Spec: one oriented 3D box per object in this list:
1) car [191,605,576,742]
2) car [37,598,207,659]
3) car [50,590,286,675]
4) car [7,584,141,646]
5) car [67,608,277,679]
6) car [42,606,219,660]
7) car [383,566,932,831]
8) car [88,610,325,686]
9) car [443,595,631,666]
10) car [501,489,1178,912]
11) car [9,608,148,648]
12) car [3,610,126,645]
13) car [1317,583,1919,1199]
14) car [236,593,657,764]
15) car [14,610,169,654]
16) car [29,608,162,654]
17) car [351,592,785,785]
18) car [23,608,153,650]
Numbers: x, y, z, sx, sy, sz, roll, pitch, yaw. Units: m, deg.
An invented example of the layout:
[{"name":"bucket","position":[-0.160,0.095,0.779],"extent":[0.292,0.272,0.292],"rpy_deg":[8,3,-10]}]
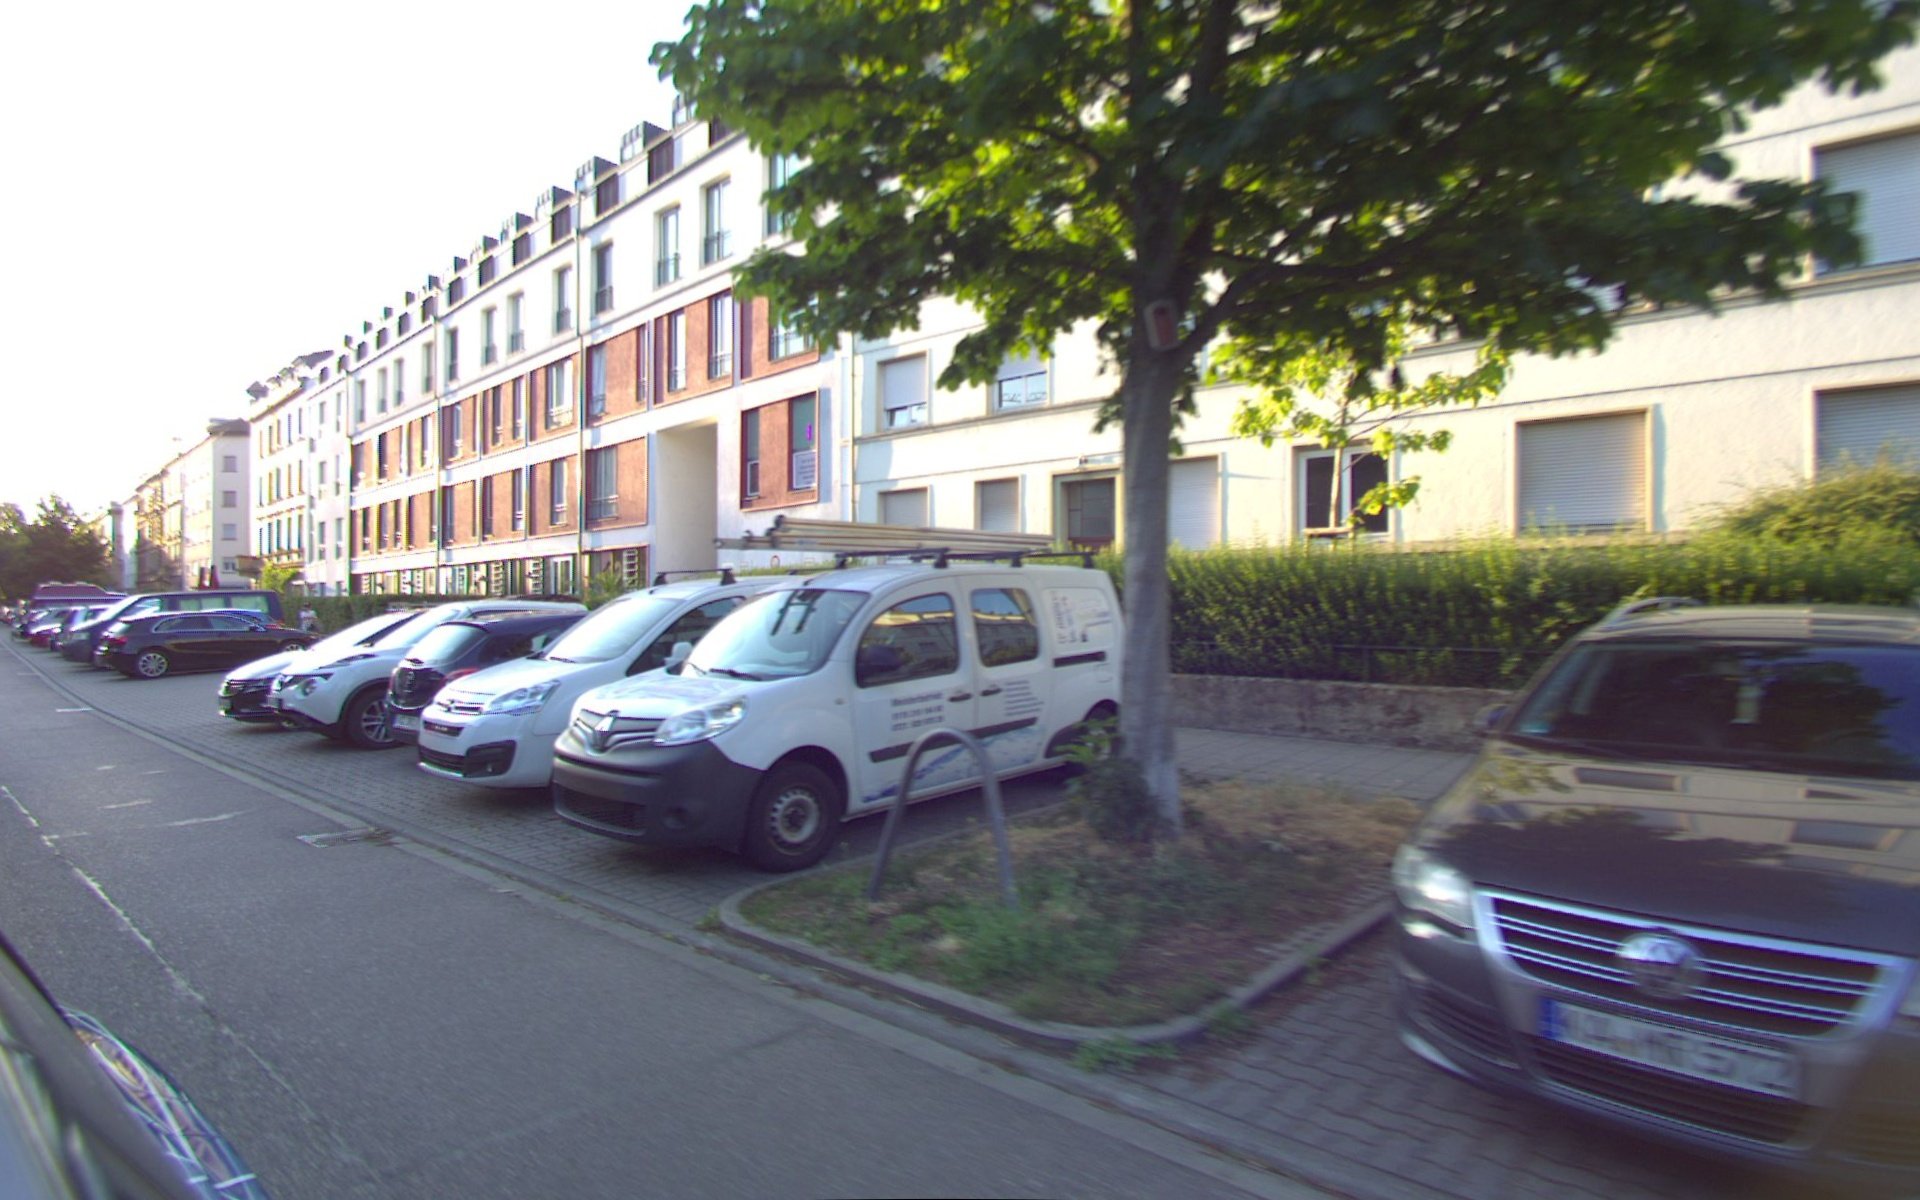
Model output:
[{"name":"car","position":[-7.974,0.887,14.352],"extent":[1.827,1.462,4.363],"rpy_deg":[0,2,41]},{"name":"car","position":[-28.065,0.895,34.005],"extent":[1.896,1.910,4.136],"rpy_deg":[-1,-1,39]},{"name":"car","position":[-20.960,0.790,26.930],"extent":[4.797,2.070,2.002],"rpy_deg":[0,-1,-43]},{"name":"car","position":[-39.083,0.639,44.686],"extent":[4.351,2.576,1.933],"rpy_deg":[0,0,-45]},{"name":"car","position":[-19.328,1.005,24.944],"extent":[1.653,1.504,3.844],"rpy_deg":[0,1,41]},{"name":"car","position":[-26.270,1.012,32.155],"extent":[2.049,1.601,3.952],"rpy_deg":[-1,-1,35]},{"name":"car","position":[-2.525,0.638,9.218],"extent":[1.944,1.815,4.371],"rpy_deg":[-1,1,45]},{"name":"car","position":[-17.369,1.028,23.479],"extent":[1.737,1.426,4.097],"rpy_deg":[-1,2,39]},{"name":"car","position":[-10.617,0.711,25.592],"extent":[1.997,1.646,3.949],"rpy_deg":[0,0,38]},{"name":"car","position":[-0.585,0.417,7.271],"extent":[4.460,2.086,2.002],"rpy_deg":[-4,1,-44]},{"name":"car","position":[-37.057,1.133,42.610],"extent":[1.706,1.536,4.288],"rpy_deg":[-1,0,44]},{"name":"car","position":[-40.843,1.222,46.224],"extent":[1.802,1.427,3.939],"rpy_deg":[-1,1,38]},{"name":"car","position":[3.169,0.688,3.761],"extent":[1.852,1.416,4.278],"rpy_deg":[-1,1,44]},{"name":"car","position":[-6.071,0.796,12.338],"extent":[1.813,1.633,4.197],"rpy_deg":[-1,0,43]},{"name":"car","position":[-31.821,1.138,37.168],"extent":[1.789,1.505,4.214],"rpy_deg":[-1,0,45]},{"name":"car","position":[-33.401,1.161,39.163],"extent":[3.841,1.629,1.701],"rpy_deg":[-1,0,-44]},{"name":"car","position":[-4.025,0.770,10.889],"extent":[1.755,1.495,3.945],"rpy_deg":[-1,2,42]},{"name":"car","position":[-35.315,1.145,41.025],"extent":[3.902,1.551,1.757],"rpy_deg":[-1,0,-44]}]
